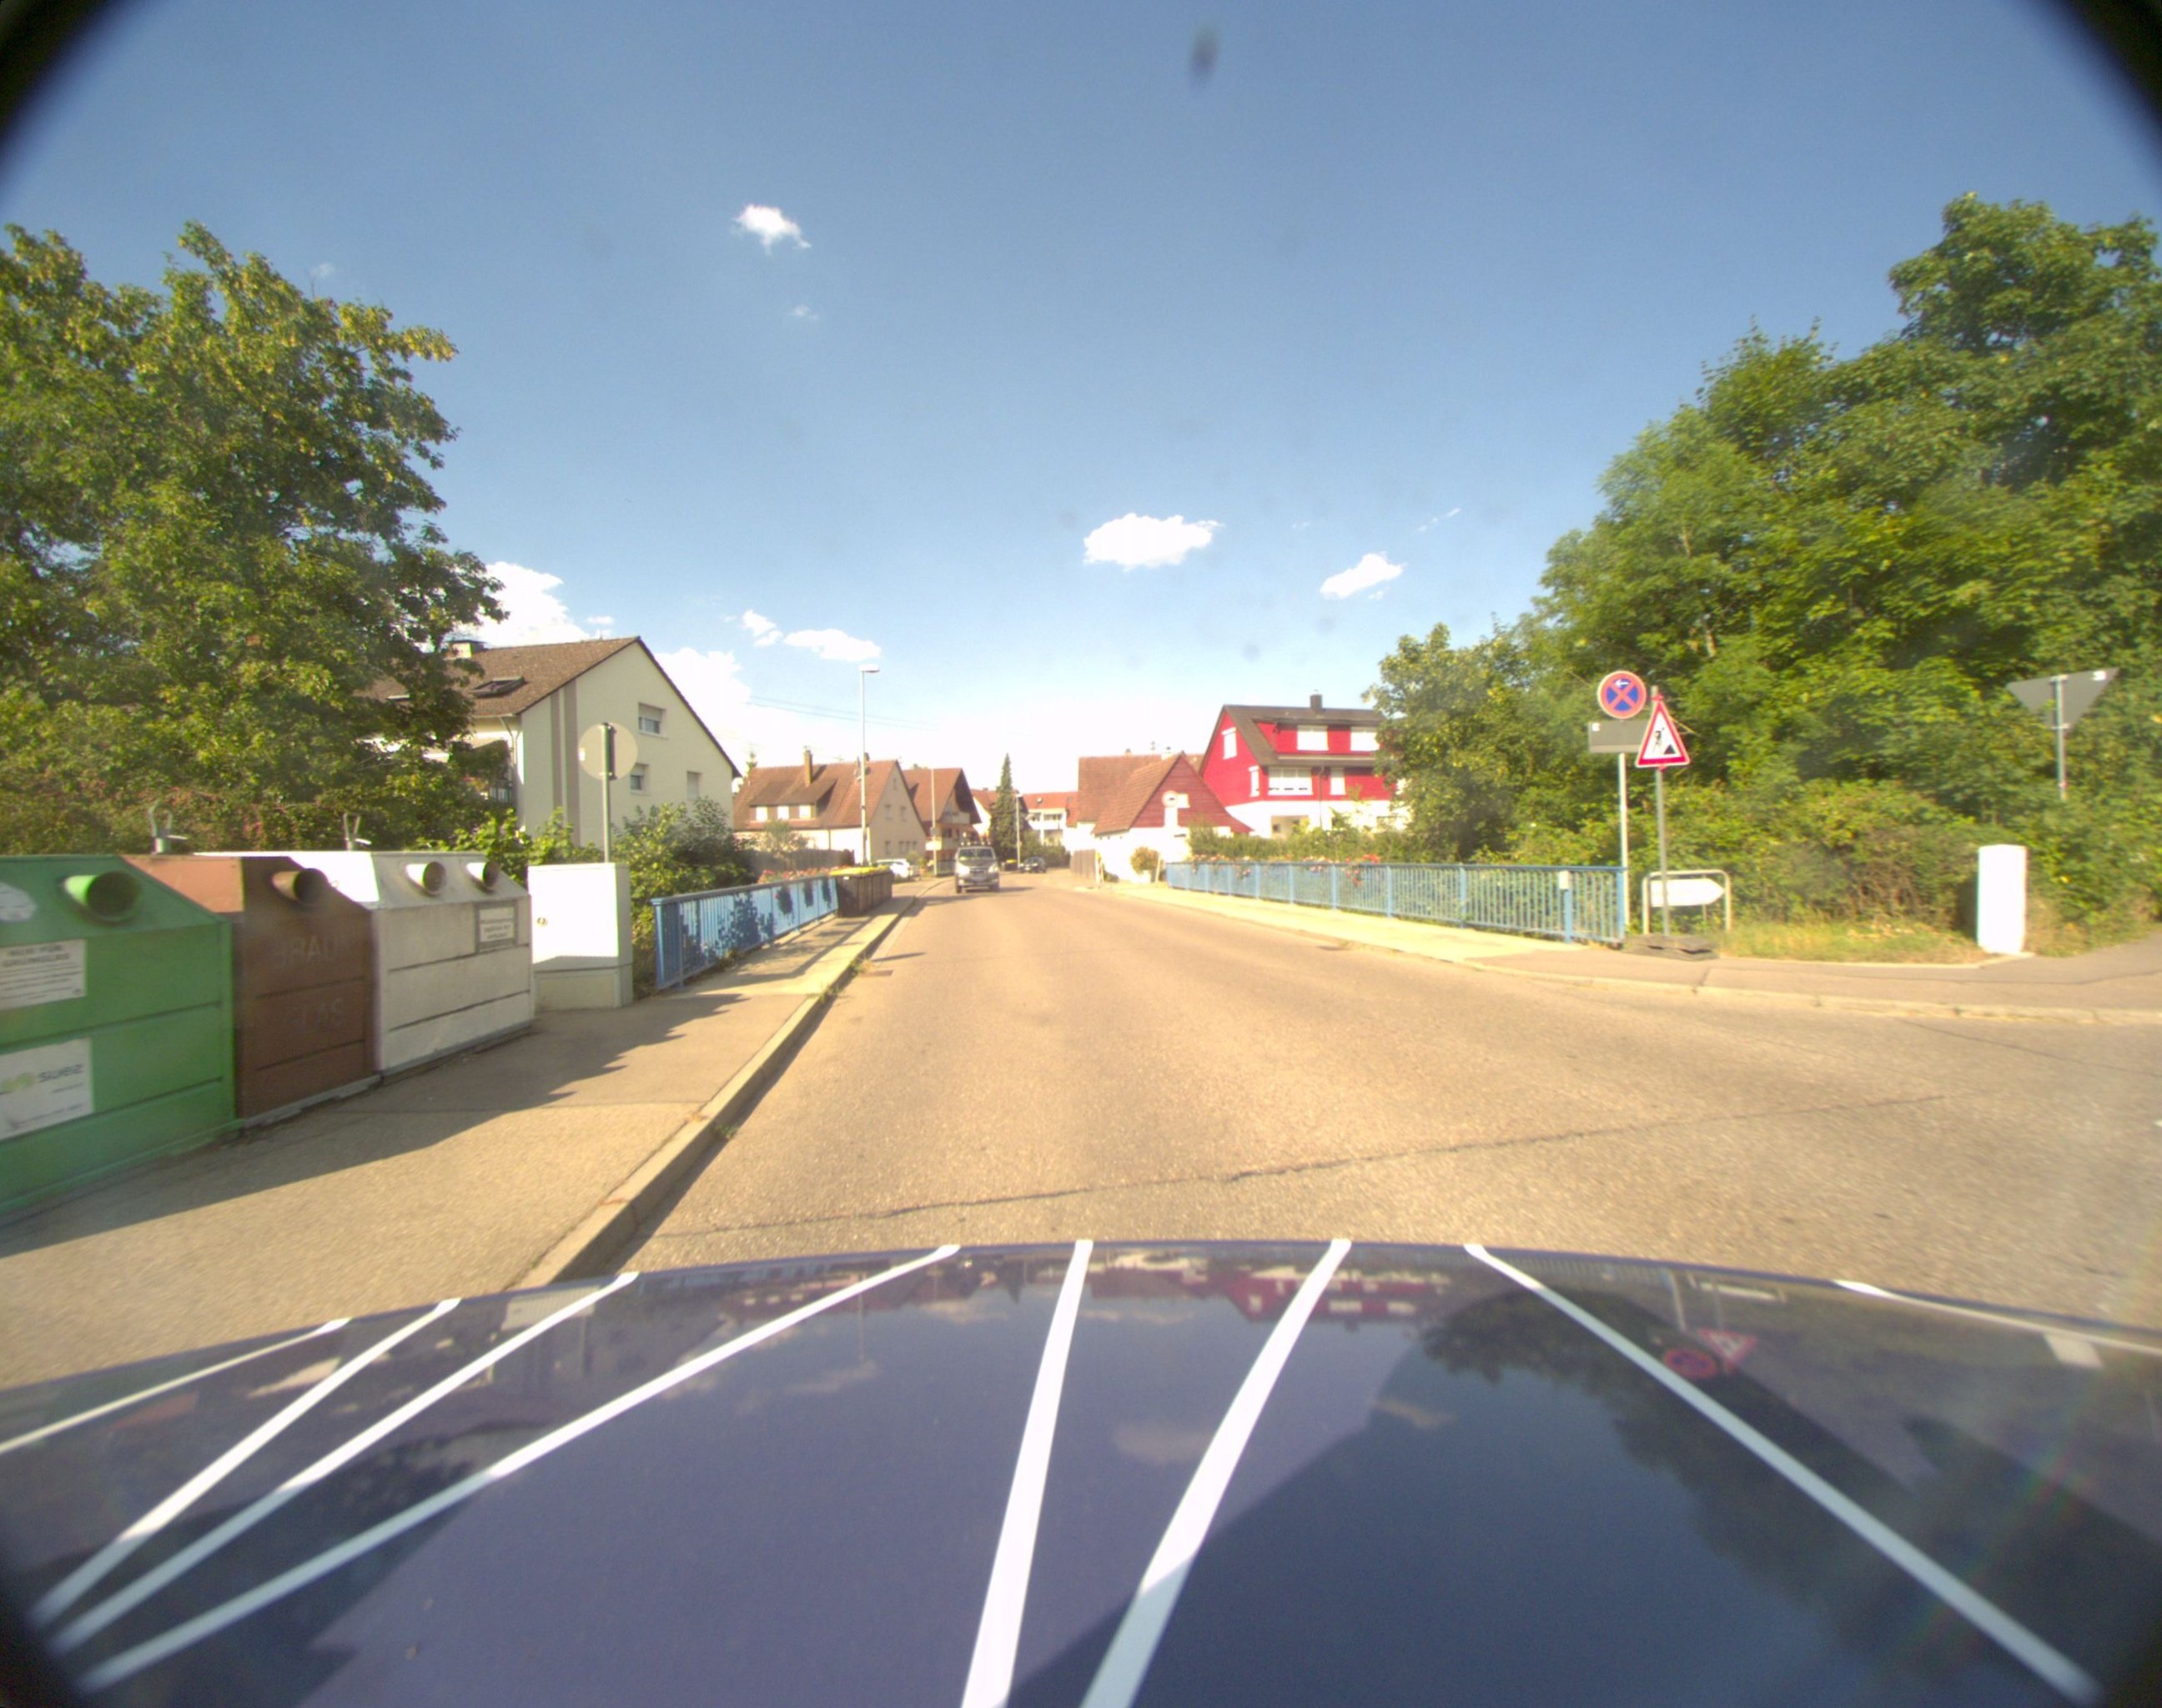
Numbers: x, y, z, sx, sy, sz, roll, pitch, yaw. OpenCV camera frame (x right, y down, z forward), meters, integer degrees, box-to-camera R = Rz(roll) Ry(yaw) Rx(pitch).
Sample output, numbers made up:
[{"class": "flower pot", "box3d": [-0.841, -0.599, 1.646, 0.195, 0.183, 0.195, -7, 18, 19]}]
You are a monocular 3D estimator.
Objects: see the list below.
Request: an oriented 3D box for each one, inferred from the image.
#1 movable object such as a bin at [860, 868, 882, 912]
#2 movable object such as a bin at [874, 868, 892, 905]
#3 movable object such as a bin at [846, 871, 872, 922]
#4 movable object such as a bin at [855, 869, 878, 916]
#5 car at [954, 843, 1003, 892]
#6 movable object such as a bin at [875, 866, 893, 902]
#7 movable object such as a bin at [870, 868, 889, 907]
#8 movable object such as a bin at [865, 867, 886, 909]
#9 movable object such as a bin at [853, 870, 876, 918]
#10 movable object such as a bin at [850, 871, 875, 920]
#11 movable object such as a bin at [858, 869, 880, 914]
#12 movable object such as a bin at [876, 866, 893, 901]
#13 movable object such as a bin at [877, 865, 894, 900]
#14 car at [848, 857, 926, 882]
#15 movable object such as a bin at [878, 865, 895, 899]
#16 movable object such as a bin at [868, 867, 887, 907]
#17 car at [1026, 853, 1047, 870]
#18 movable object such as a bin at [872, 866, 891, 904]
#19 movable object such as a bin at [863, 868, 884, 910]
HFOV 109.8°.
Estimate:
[{"class": "movable object such as a bin", "box3d": [-5.624, 0.966, 20.390, 0.480, 1.136, 0.538, -1, 1, -10]}, {"class": "movable object such as a bin", "box3d": [-6.222, 1.005, 23.913, 0.480, 1.136, 0.538, -1, 1, -10]}, {"class": "movable object such as a bin", "box3d": [-5.101, 0.974, 17.475, 0.480, 1.136, 0.538, -1, 1, -10]}, {"class": "movable object such as a bin", "box3d": [-5.415, 0.957, 19.180, 0.480, 1.136, 0.538, -1, 1, -10]}, {"class": "car", "box3d": [-4.606, 0.576, 33.744, 1.821, 1.988, 4.816, -1, 0, -11]}, {"class": "movable object such as a bin", "box3d": [-6.363, 0.953, 24.543, 0.480, 1.136, 0.538, -1, 1, -10]}, {"class": "movable object such as a bin", "box3d": [-6.015, 0.983, 22.744, 0.480, 1.136, 0.538, -1, 1, -10]}, {"class": "movable object such as a bin", "box3d": [-5.832, 0.962, 21.591, 0.480, 1.136, 0.564, -1, 1, -10]}, {"class": "movable object such as a bin", "box3d": [-5.293, 0.966, 18.594, 0.480, 1.136, 0.538, -1, 1, -10]}, {"class": "movable object such as a bin", "box3d": [-5.186, 0.972, 18.033, 0.480, 1.136, 0.538, -1, 1, -10]}, {"class": "movable object such as a bin", "box3d": [-5.521, 0.968, 19.778, 0.480, 1.136, 0.538, -1, 1, -10]}, {"class": "movable object such as a bin", "box3d": [-6.500, 0.961, 25.138, 0.480, 1.136, 0.542, -1, 1, -10]}, {"class": "movable object such as a bin", "box3d": [-6.602, 0.951, 25.687, 0.480, 1.136, 0.538, -1, 1, -10]}, {"class": "car", "box3d": [-12.446, 1.001, 48.845, 4.472, 1.450, 1.732, -2, 1, 10]}, {"class": "movable object such as a bin", "box3d": [-6.708, 0.949, 26.229, 0.480, 1.136, 0.538, -1, 1, -10]}, {"class": "movable object such as a bin", "box3d": [-5.931, 0.960, 22.160, 0.480, 1.136, 0.538, -1, 1, -10]}, {"class": "car", "box3d": [-4.521, 0.730, 77.347, 1.973, 1.647, 3.999, 0, 1, -1]}, {"class": "movable object such as a bin", "box3d": [-6.123, 0.956, 23.317, 0.480, 1.136, 0.538, -1, 1, -10]}, {"class": "movable object such as a bin", "box3d": [-5.731, 0.964, 20.967, 0.480, 1.136, 0.538, -1, 1, -10]}]
